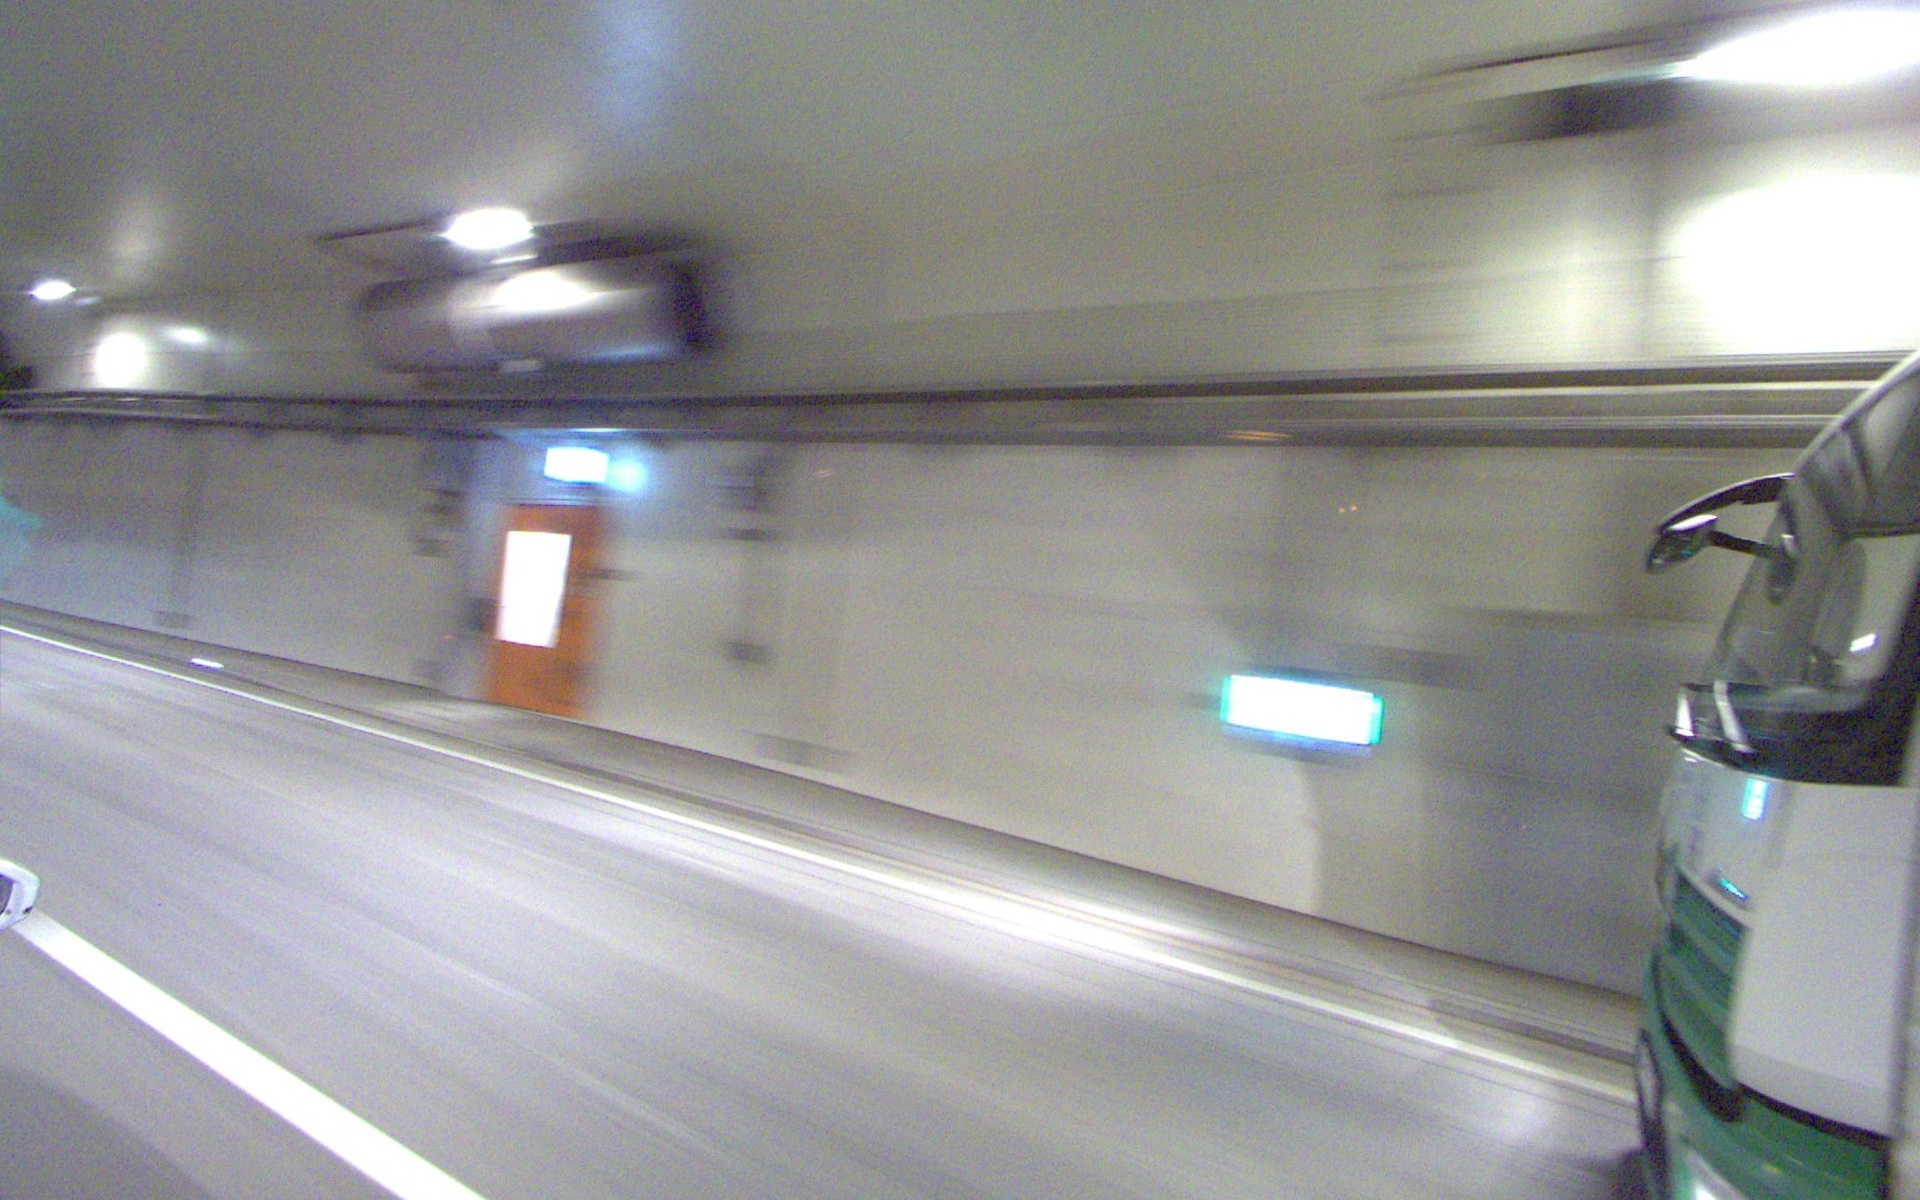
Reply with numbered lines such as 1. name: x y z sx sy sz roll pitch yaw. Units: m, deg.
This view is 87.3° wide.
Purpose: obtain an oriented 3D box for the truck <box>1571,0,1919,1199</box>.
1. truck: 4.977 0.579 1.005 7.125 3.218 2.559 7 -2 32
